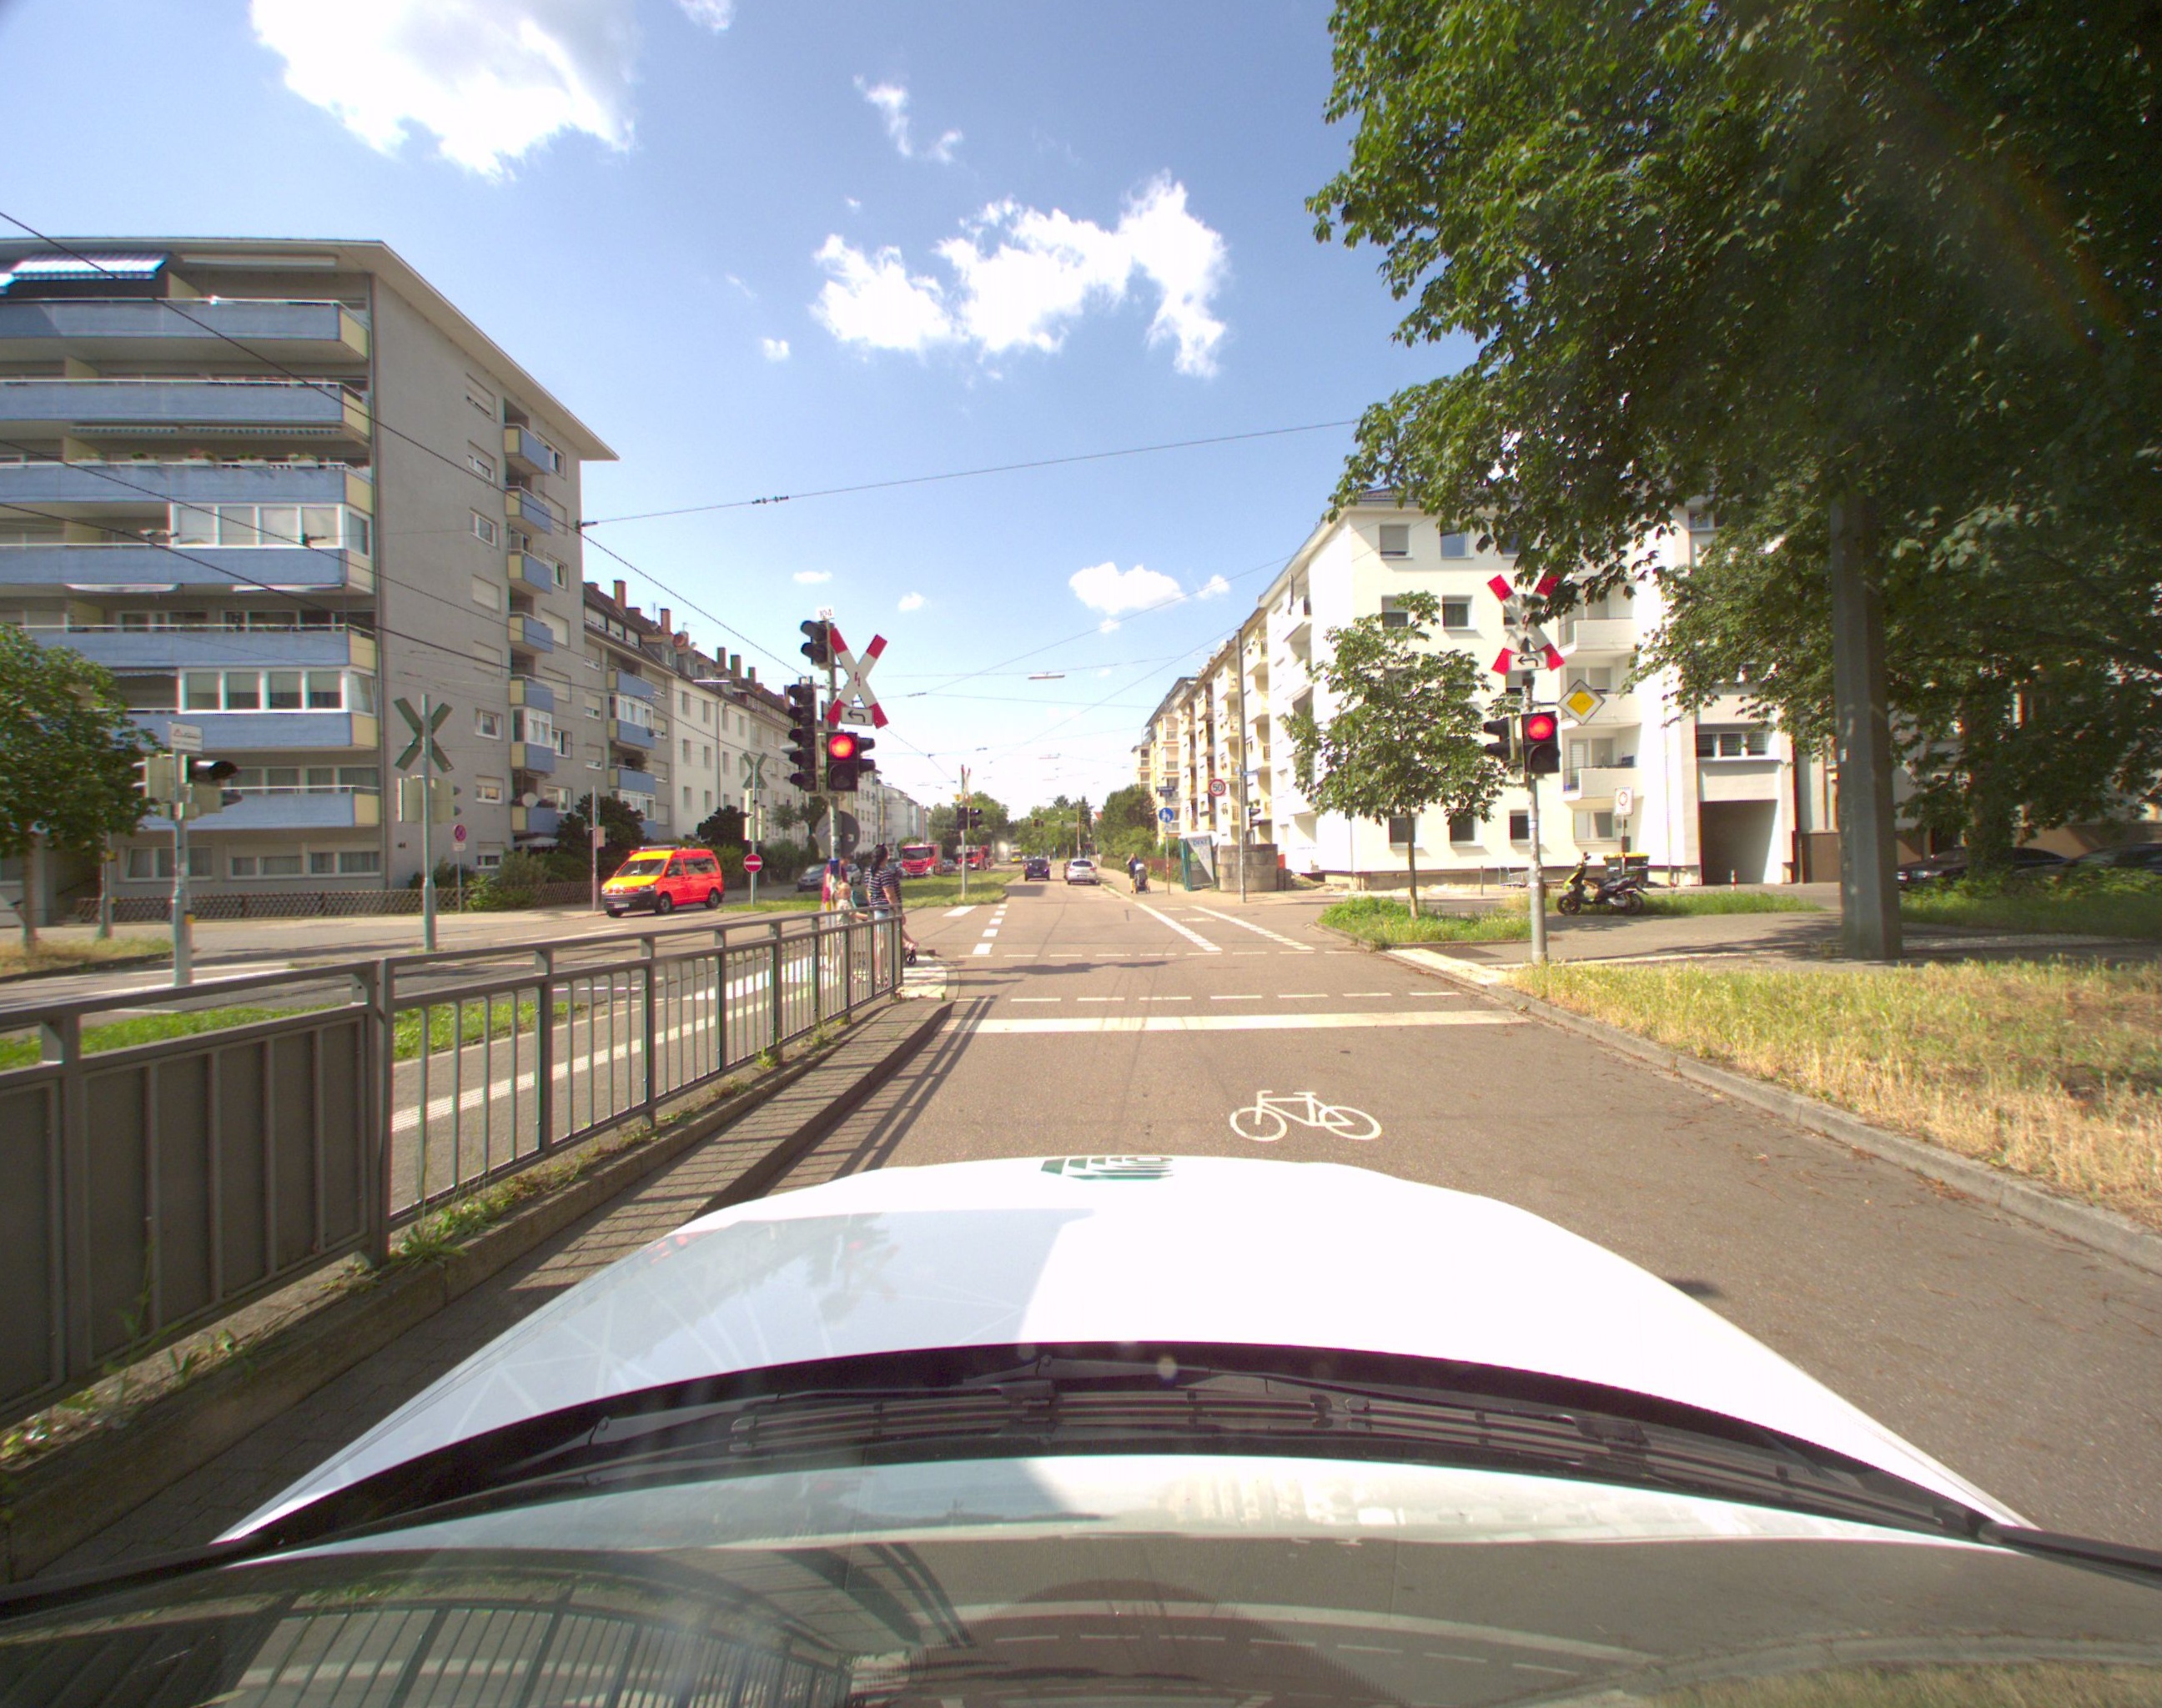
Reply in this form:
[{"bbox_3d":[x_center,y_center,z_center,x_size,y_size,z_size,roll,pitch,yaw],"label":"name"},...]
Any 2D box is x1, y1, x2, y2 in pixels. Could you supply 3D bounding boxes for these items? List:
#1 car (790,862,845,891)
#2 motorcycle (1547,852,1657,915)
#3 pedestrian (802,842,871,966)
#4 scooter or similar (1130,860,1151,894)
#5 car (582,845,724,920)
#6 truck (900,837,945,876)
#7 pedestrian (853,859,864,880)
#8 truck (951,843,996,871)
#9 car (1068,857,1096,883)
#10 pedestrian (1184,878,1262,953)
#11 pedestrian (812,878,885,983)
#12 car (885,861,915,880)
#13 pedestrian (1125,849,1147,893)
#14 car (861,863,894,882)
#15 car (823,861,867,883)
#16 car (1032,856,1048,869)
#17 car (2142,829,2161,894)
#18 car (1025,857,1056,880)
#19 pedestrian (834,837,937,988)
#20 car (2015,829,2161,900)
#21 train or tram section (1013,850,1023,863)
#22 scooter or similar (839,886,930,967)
[{"bbox_3d":[-15.768,1.306,48.981,1.987,1.645,3.999,0,-1,0],"label":"car"},{"bbox_3d":[11.045,0.629,17.324,0.574,1.215,1.829,-6,1,-30],"label":"motorcycle"},{"bbox_3d":[-3.375,0.675,11.270,0.702,1.648,0.637,1,-1,3],"label":"pedestrian"},{"bbox_3d":[2.402,0.921,33.121,0.660,1.303,0.868,-5,0,-1],"label":"scooter or similar"},{"bbox_3d":[-14.328,0.893,27.665,1.985,2.275,4.838,-2,0,3],"label":"car"},{"bbox_3d":[-13.794,0.242,71.565,2.590,3.186,8.374,-1,-1,-2],"label":"truck"},{"bbox_3d":[-19.016,1.321,69.753,0.704,1.794,0.863,-2,0,-5],"label":"pedestrian"},{"bbox_3d":[-14.045,0.423,107.530,2.649,3.470,10.199,0,-1,11],"label":"truck"},{"bbox_3d":[0.029,0.949,48.410,1.617,1.465,3.509,0,-1,-1],"label":"car"},{"bbox_3d":[4.258,1.789,25.009,1.984,2.014,4.004,0,-1,4],"label":"pedestrian"},{"bbox_3d":[-2.835,0.900,9.906,0.641,1.180,0.791,-1,-1,-31],"label":"pedestrian"},{"bbox_3d":[-16.872,1.525,75.898,1.988,1.711,3.997,0,-1,-2],"label":"car"},{"bbox_3d":[2.281,0.702,33.975,0.699,1.789,1.029,-4,0,-2],"label":"pedestrian"},{"bbox_3d":[-16.178,1.450,64.979,1.763,1.442,3.997,0,-1,-2],"label":"car"},{"bbox_3d":[-15.890,1.189,55.003,1.762,1.442,3.999,0,-1,0],"label":"car"},{"bbox_3d":[-4.632,0.973,92.064,1.739,1.507,3.997,0,-1,-1],"label":"car"},{"bbox_3d":[26.034,0.163,17.449,1.794,1.539,4.013,-2,0,11],"label":"car"},{"bbox_3d":[-2.747,0.973,55.441,1.737,1.507,4.002,0,-1,2],"label":"car"},{"bbox_3d":[-2.296,0.654,9.585,0.853,1.667,0.789,-1,-1,-44],"label":"pedestrian"},{"bbox_3d":[23.227,0.198,17.495,1.733,1.459,4.001,-2,0,1],"label":"car"},{"bbox_3d":[-15.407,0.615,198.296,2.254,3.069,8.122,-2,0,-4],"label":"train or tram section"},{"bbox_3d":[-2.690,0.984,11.241,1.097,1.056,0.650,0,-1,-2],"label":"scooter or similar"}]
